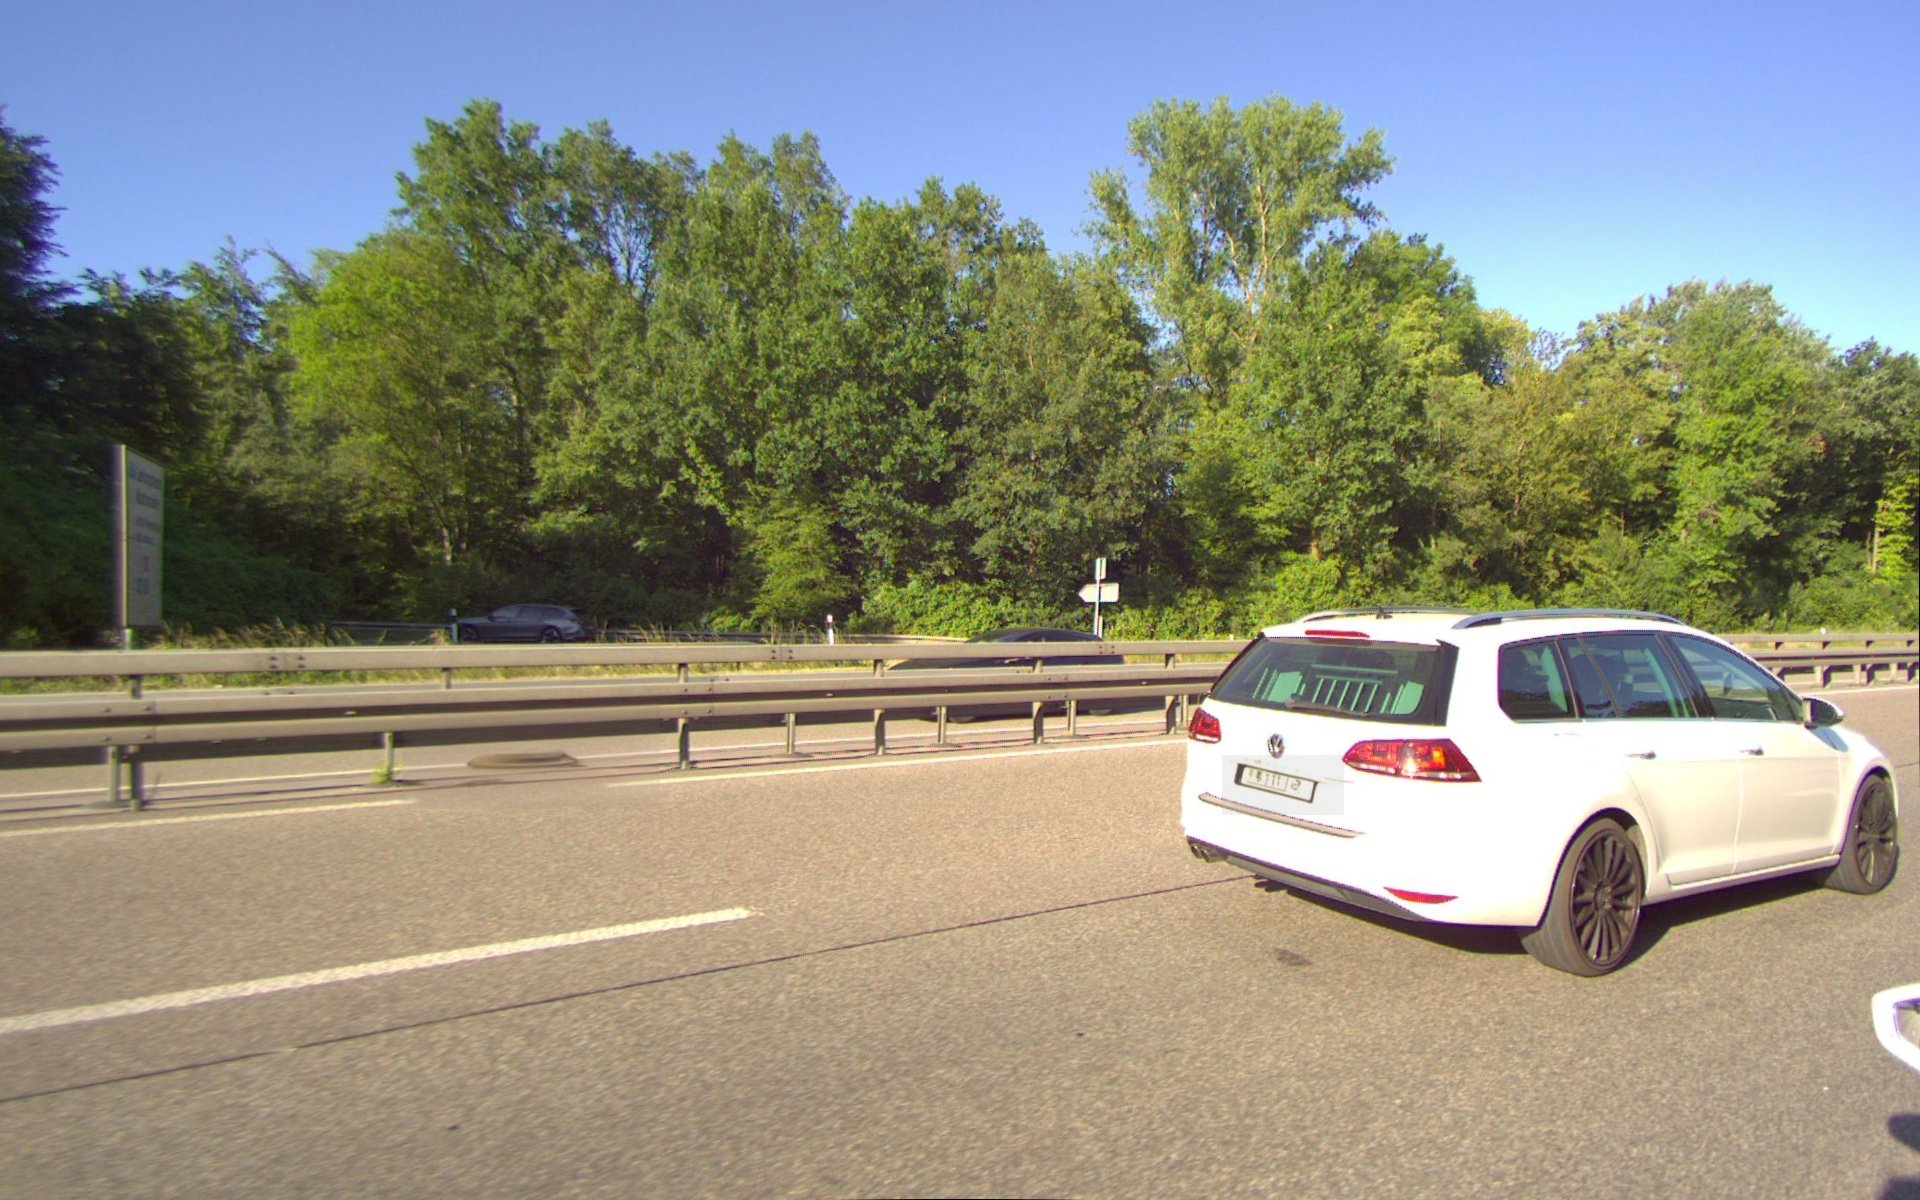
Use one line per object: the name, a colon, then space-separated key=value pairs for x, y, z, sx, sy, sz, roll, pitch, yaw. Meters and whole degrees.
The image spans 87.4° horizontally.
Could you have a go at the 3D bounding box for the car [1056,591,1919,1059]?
car: x=3.345 y=0.766 z=5.501 sx=5.532 sy=1.528 sz=1.920 roll=1 pitch=0 yaw=-30

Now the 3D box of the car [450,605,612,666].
car: x=-14.533 y=1.181 z=34.223 sx=4.573 sy=1.884 sz=2.000 roll=2 pitch=-1 yaw=-1
